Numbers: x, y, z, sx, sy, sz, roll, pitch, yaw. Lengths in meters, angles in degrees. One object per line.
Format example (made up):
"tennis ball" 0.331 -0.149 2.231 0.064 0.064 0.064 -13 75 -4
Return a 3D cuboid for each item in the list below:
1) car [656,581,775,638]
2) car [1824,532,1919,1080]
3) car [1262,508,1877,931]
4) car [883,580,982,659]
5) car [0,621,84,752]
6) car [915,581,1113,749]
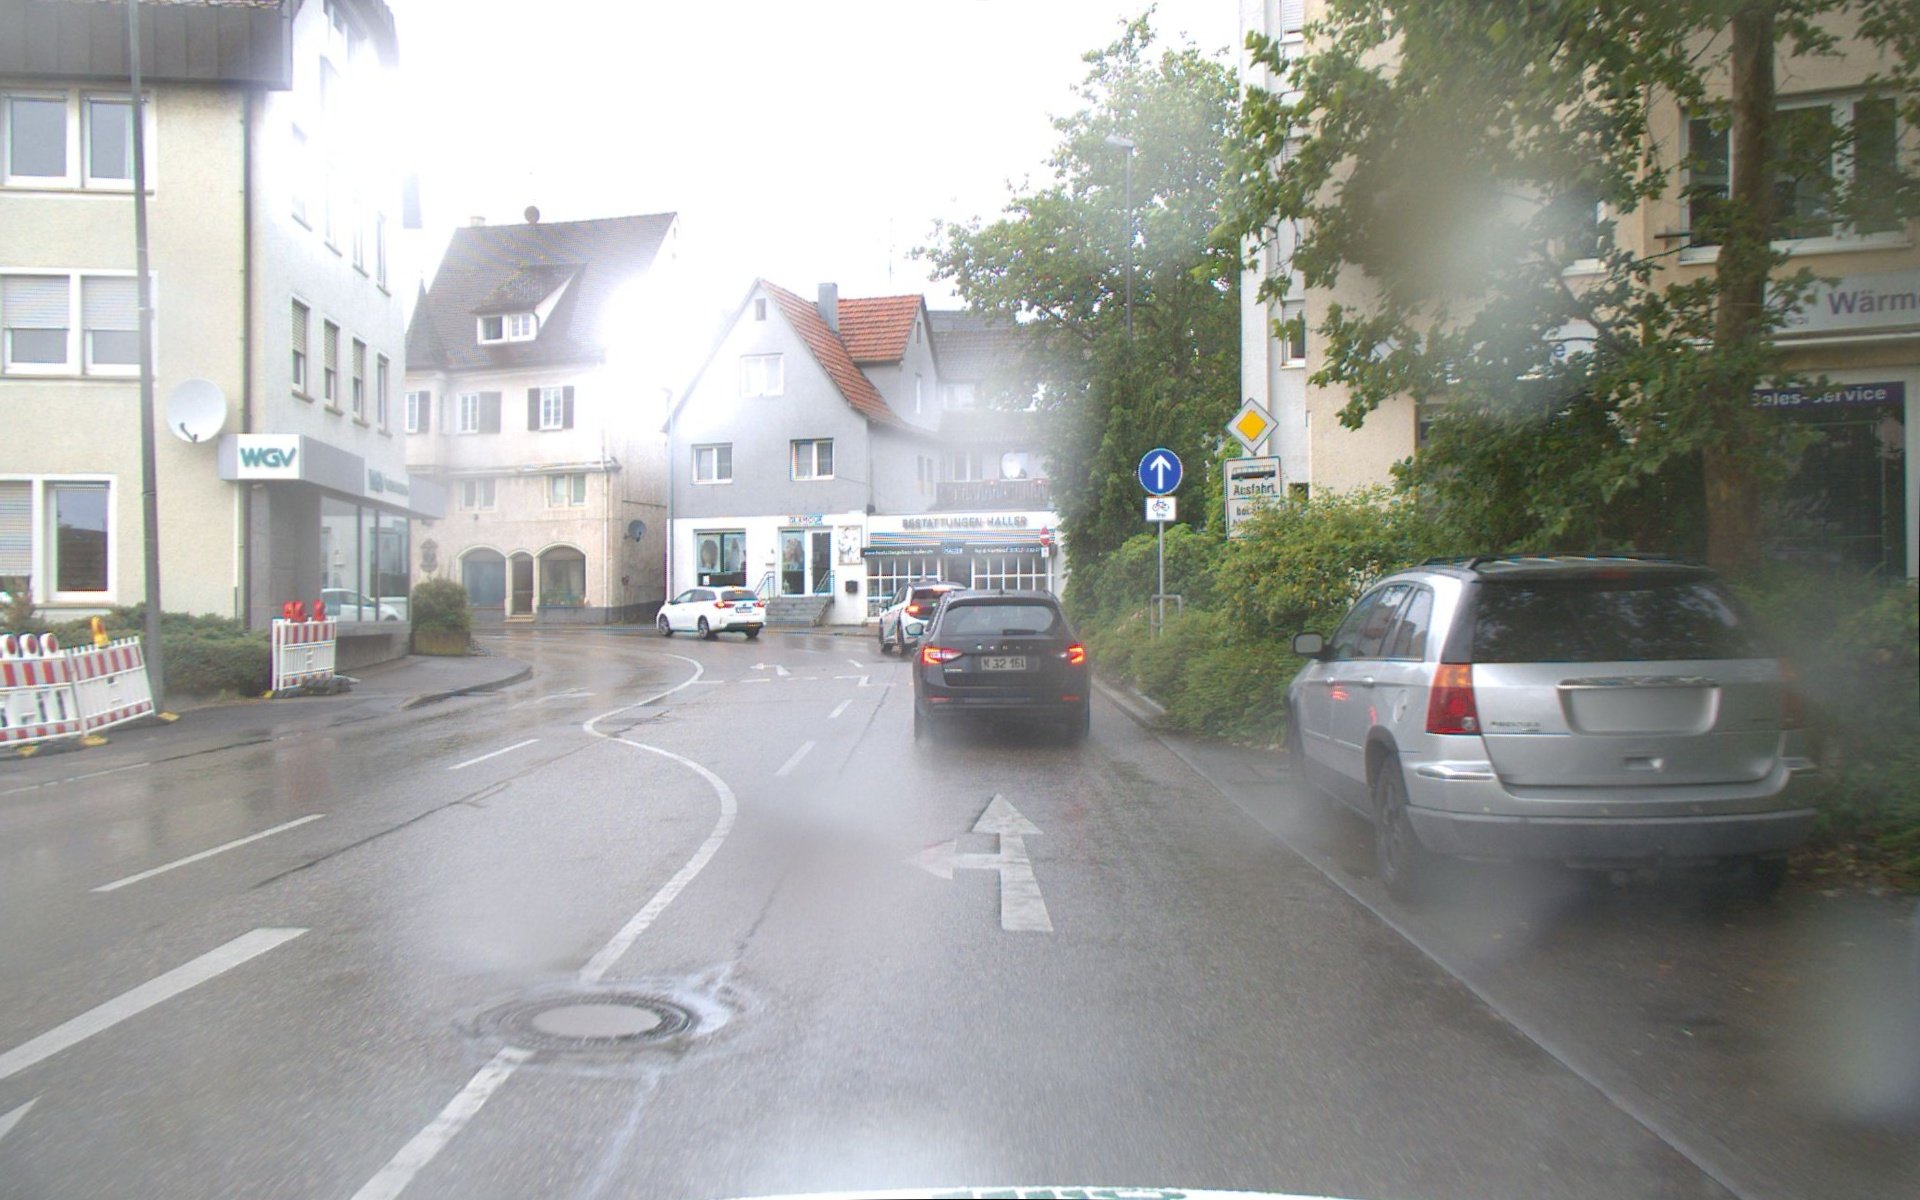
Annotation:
"car" -7.227 0.236 48.560 1.772 1.491 4.111 -2 2 -36
"car" 3.688 0.596 3.360 1.675 1.600 3.913 -2 1 -2
"car" 3.112 0.498 9.646 1.891 1.811 4.734 -2 1 1
"car" -0.666 0.379 36.381 1.754 1.543 4.236 -2 1 -6
"car" -12.798 1.250 19.936 3.438 1.413 1.648 -9 3 -10
"car" 0.450 0.578 17.516 1.698 1.475 4.239 -1 2 -4
